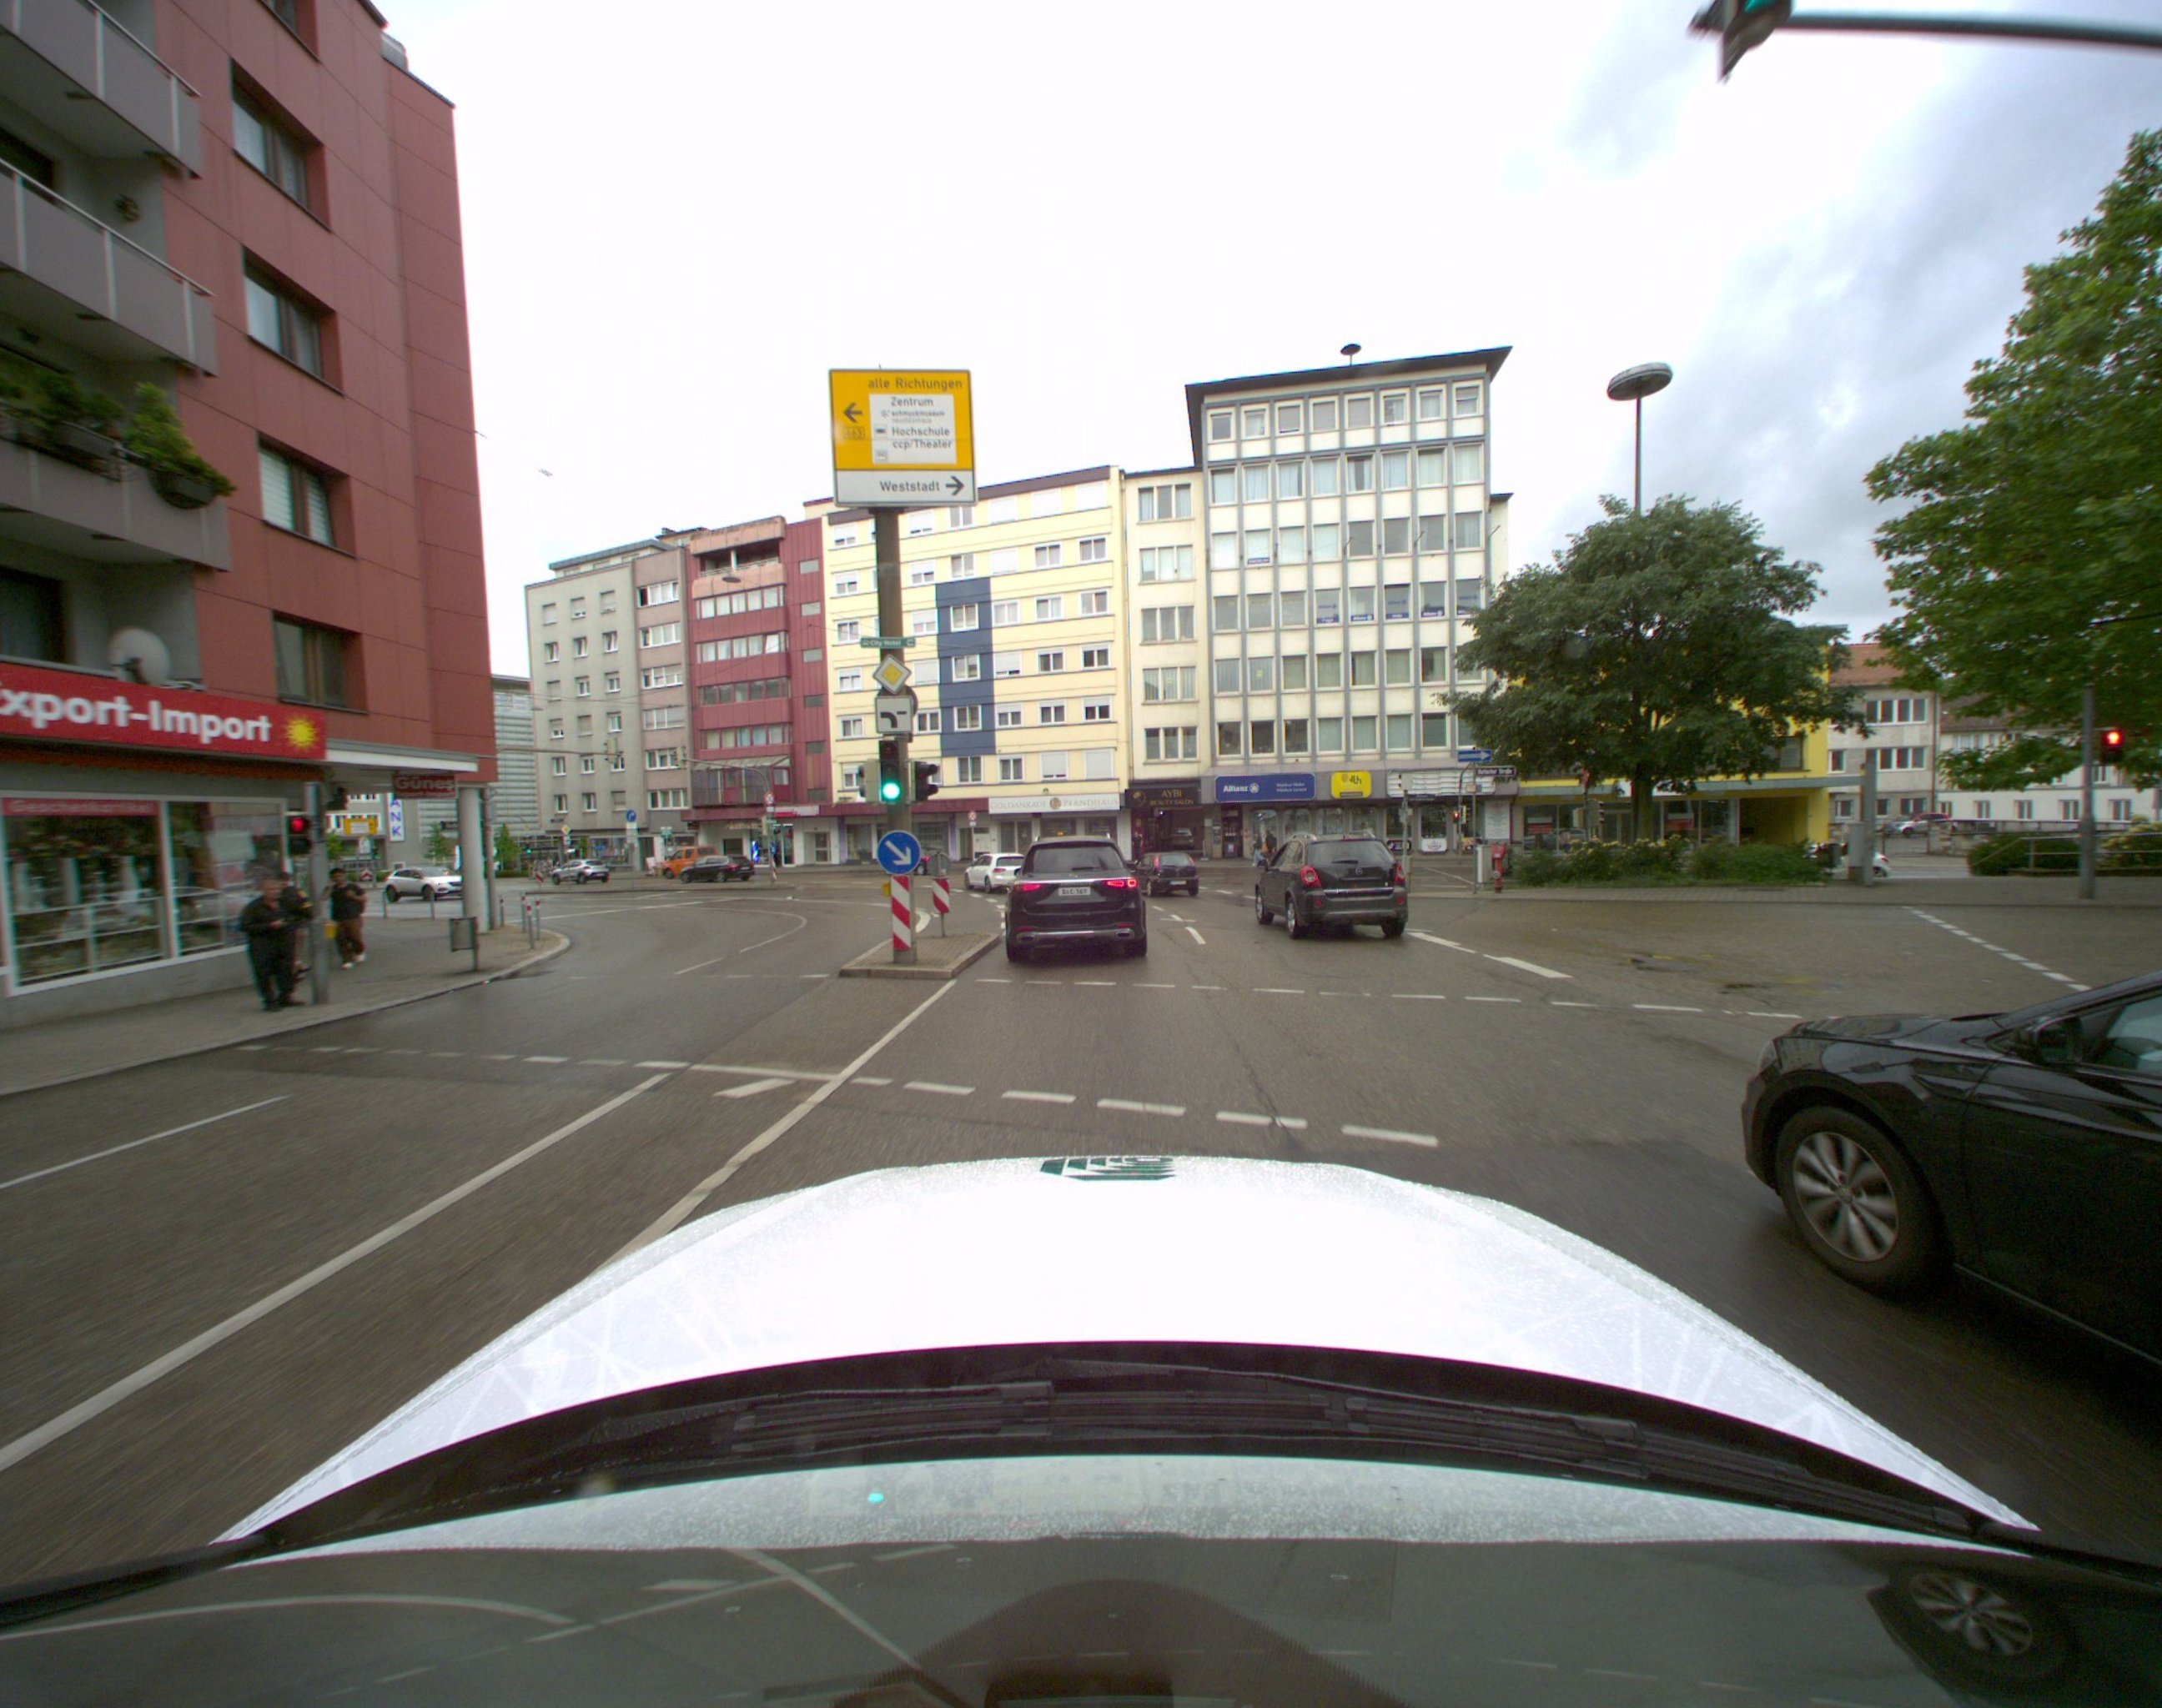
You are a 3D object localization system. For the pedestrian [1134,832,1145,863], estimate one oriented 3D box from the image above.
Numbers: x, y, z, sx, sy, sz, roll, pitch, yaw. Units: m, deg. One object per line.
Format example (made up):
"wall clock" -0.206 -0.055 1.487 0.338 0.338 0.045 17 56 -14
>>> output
"pedestrian" 3.246 -0.373 45.514 0.561 1.688 0.757 -2 6 3

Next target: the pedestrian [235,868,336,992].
"pedestrian" -12.500 1.157 12.829 0.760 1.848 0.841 -1 0 -10

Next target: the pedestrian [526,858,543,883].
"pedestrian" -43.947 1.314 65.465 0.810 2.013 0.853 -2 0 -6

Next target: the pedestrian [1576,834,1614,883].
"pedestrian" 19.687 0.150 31.196 0.821 1.827 0.891 1 1 -2

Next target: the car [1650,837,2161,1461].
"car" 3.383 0.684 1.751 1.681 1.477 4.004 -1 0 3

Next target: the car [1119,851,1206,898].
"car" 2.666 0.655 27.471 1.768 1.397 3.984 -2 0 -12

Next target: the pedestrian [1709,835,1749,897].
"pedestrian" 19.670 0.363 24.735 0.709 1.828 0.680 2 -3 6

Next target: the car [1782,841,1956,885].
"car" 28.439 0.309 29.535 4.160 1.412 1.836 0 5 12

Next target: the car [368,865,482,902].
"car" -31.690 1.410 39.354 4.681 1.556 2.010 -2 1 19

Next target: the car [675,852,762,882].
"car" -19.804 0.705 44.523 4.184 1.486 2.011 -2 0 24

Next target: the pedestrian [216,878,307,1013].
"pedestrian" -10.843 1.181 10.796 0.553 1.697 0.622 -1 0 -6

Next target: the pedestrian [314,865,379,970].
"pedestrian" -13.378 1.122 14.827 0.835 1.831 0.715 -1 -1 -44

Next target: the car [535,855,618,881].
"car" -30.892 0.848 49.877 4.606 1.515 1.941 0 -2 23

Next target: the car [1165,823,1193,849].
"car" 6.853 -1.216 57.002 1.788 1.670 4.007 -2 0 6

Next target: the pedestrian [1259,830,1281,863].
"pedestrian" 10.132 -0.421 43.674 1.025 1.688 0.832 -1 6 6

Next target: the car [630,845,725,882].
"car" -25.365 0.603 51.225 5.366 2.228 2.261 0 -1 19

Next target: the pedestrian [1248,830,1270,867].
"pedestrian" 9.237 -0.291 42.367 1.025 1.798 0.832 -1 6 6

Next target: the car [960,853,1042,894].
"car" -3.175 0.707 31.558 1.882 1.495 4.365 0 0 -24

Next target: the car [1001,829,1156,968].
"car" -0.184 0.575 13.190 2.035 1.799 4.656 -1 0 -4

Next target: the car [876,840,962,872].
"car" -8.795 0.155 44.122 4.438 1.658 1.840 0 -1 29

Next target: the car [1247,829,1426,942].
"car" 4.368 0.472 14.706 1.891 1.695 4.507 -1 0 1

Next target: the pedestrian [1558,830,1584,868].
"pedestrian" 24.251 -0.251 40.341 0.891 1.827 0.675 3 -2 -19
